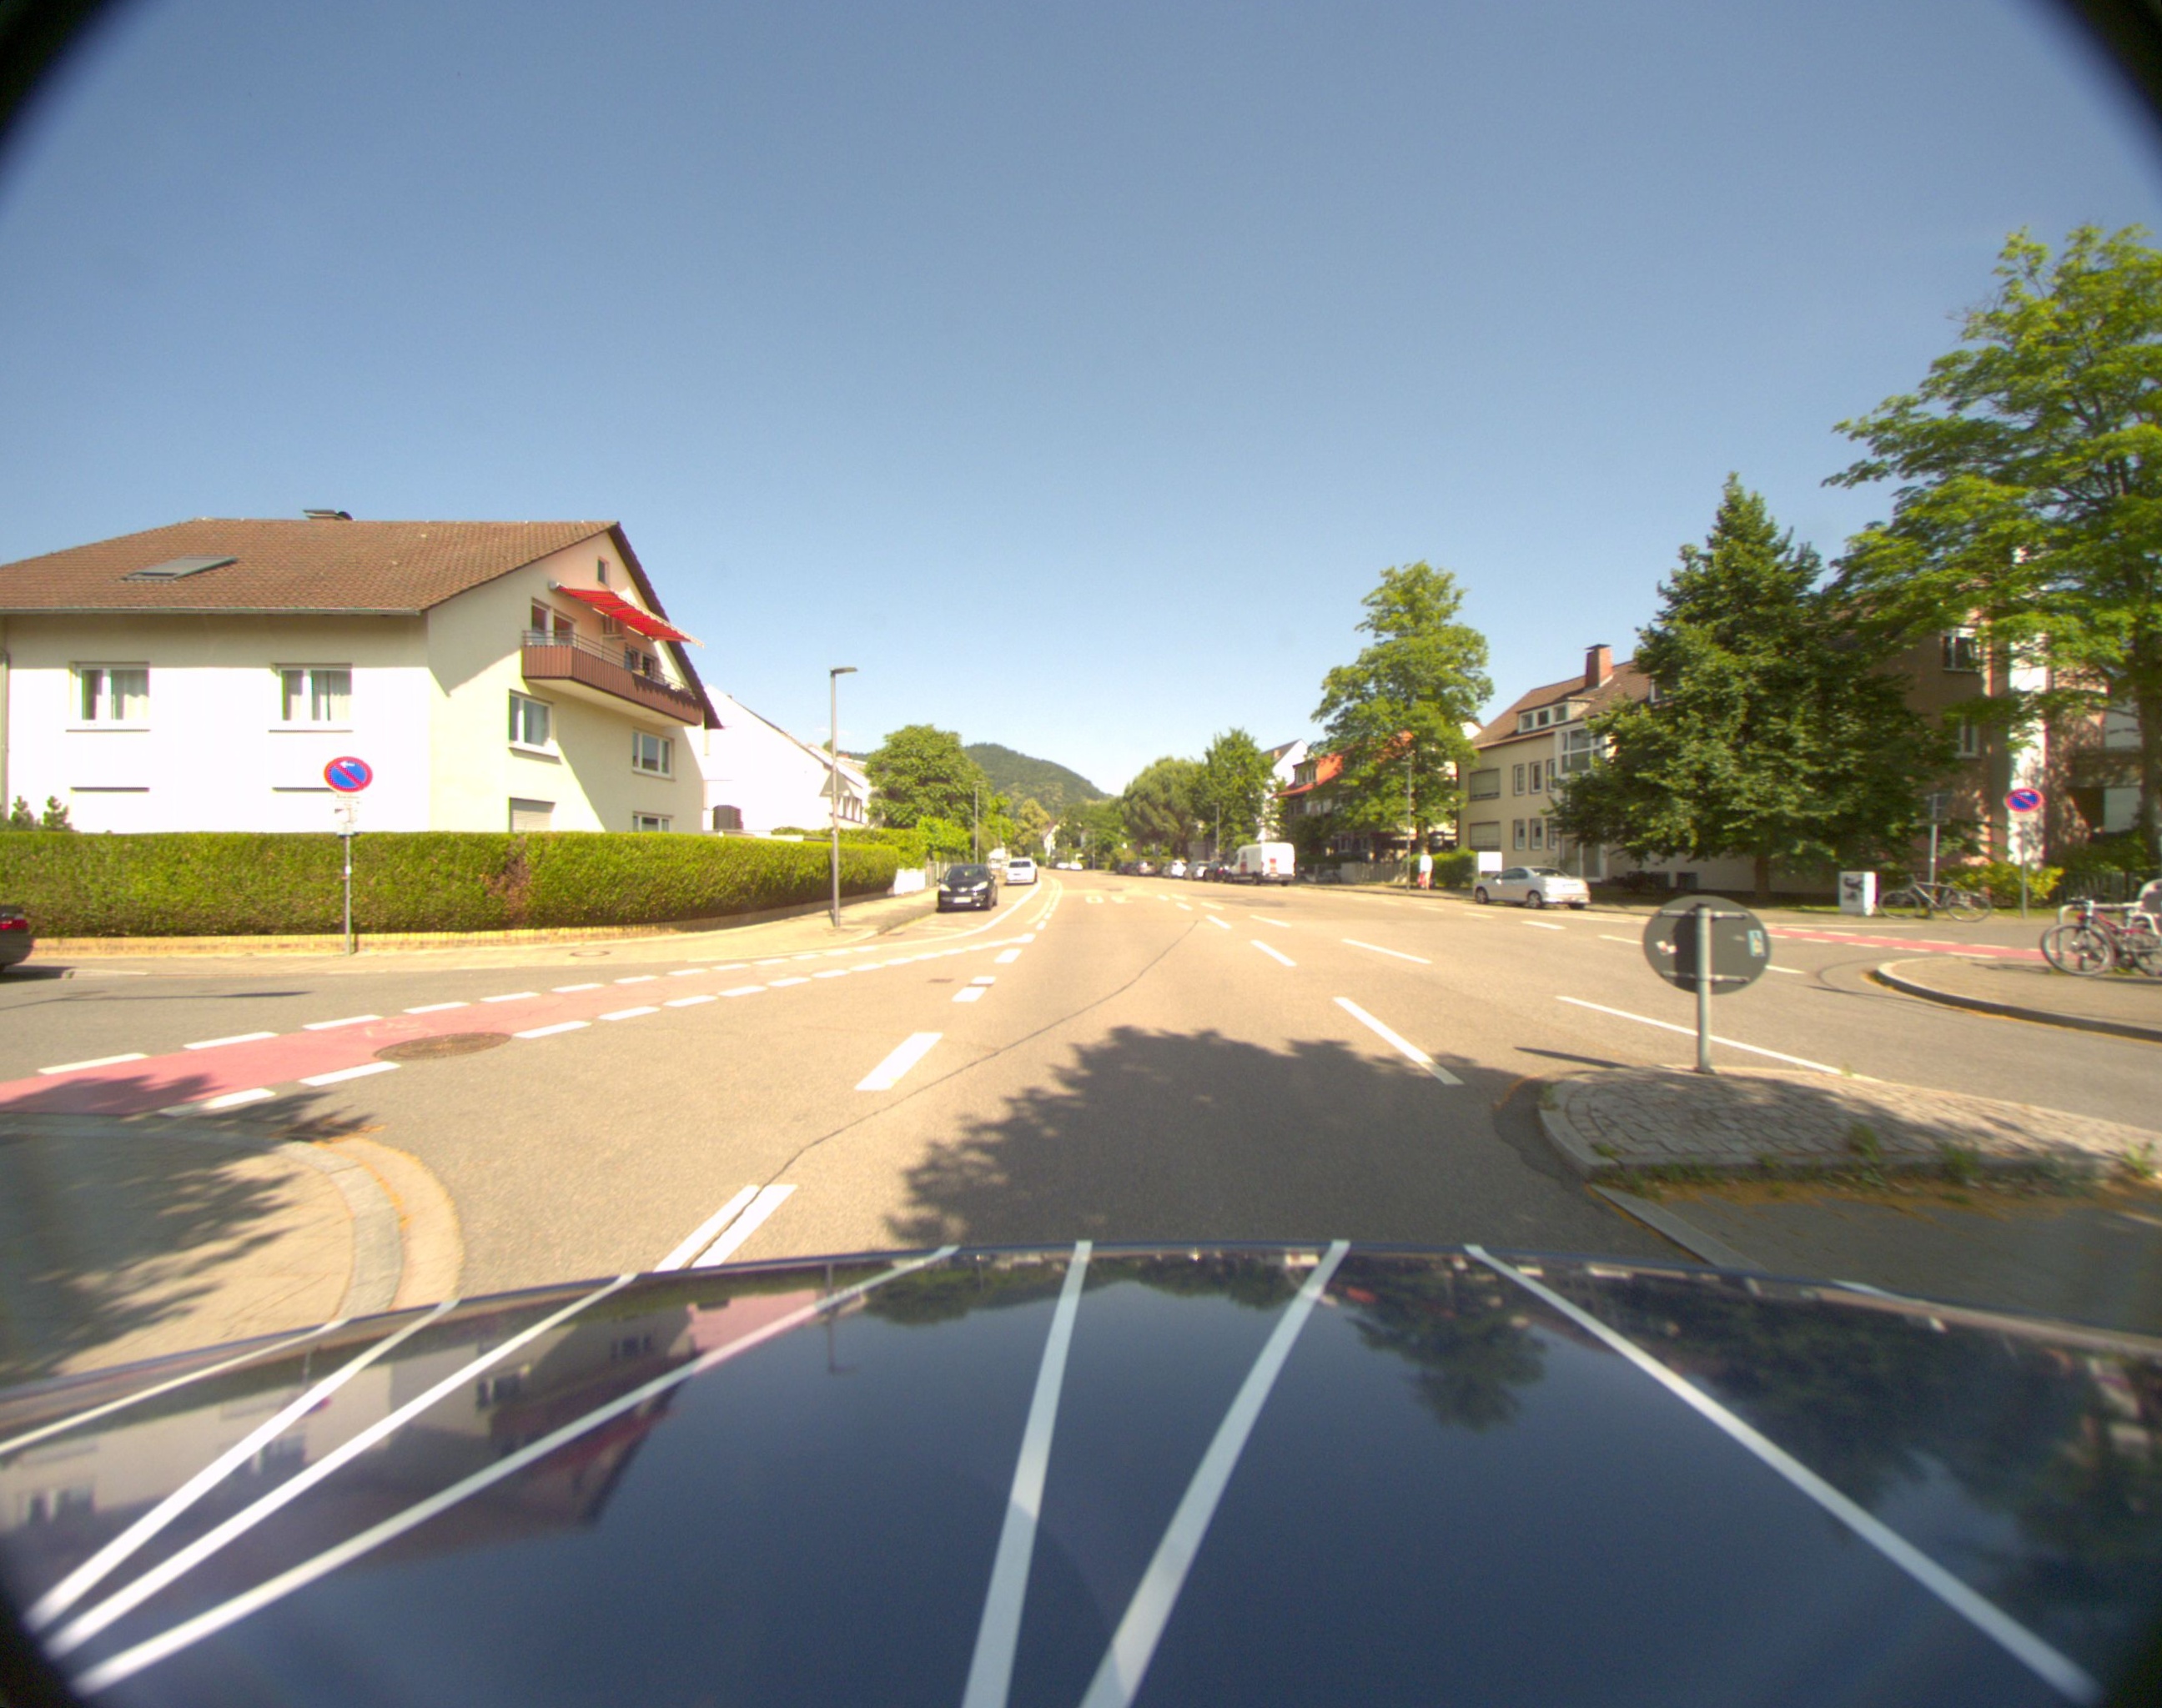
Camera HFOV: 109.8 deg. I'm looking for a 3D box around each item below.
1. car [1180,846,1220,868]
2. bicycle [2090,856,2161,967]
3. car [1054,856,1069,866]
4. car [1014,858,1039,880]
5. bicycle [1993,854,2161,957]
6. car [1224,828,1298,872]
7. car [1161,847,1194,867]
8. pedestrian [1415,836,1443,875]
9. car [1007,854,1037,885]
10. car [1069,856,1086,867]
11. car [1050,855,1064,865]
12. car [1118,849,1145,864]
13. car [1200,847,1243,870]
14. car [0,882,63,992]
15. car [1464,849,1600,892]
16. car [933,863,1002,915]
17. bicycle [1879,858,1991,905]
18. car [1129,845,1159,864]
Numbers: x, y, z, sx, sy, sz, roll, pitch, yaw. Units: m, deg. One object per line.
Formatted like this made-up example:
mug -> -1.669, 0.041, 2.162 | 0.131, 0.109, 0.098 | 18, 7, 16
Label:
car -> 8.895, 0.242, 57.199 | 1.726, 1.549, 4.669 | 1, -1, -8
bicycle -> 13.288, 0.658, 8.719 | 2.551, 1.232, 0.739 | 1, 0, -3
car -> -3.282, 1.102, 126.033 | 2.000, 1.608, 3.997 | 0, 0, -9
car -> -3.930, 1.074, 55.418 | 1.767, 1.584, 4.312 | 0, -1, -3
bicycle -> 13.343, 0.644, 9.729 | 2.551, 1.249, 0.739 | 1, 0, -3
car -> 10.879, -0.183, 46.431 | 2.096, 2.481, 5.947 | 1, -1, -11
car -> 7.952, 0.286, 63.142 | 1.726, 1.549, 3.997 | 1, -1, -8
pedestrian -> 16.130, 0.066, 35.231 | 0.976, 1.769, 0.725 | 0, 0, -4
car -> -3.819, 0.947, 49.789 | 1.767, 1.816, 4.596 | -2, 1, -3
car -> -0.607, 1.095, 113.524 | 1.960, 1.543, 3.997 | 0, 0, -9
car -> -4.206, 1.043, 133.675 | 2.000, 1.674, 3.997 | 0, 0, -9
car -> 5.254, 0.261, 79.490 | 1.847, 1.448, 4.190 | 1, -1, -10
car -> 9.625, 0.324, 52.357 | 1.726, 1.549, 3.997 | 1, -1, -8
car -> -15.738, 1.034, 9.273 | 4.126, 1.389, 1.812 | 0, -3, 0
car -> 14.663, 0.530, 25.006 | 1.726, 1.259, 3.997 | 1, -1, -8
car -> -3.567, 1.056, 24.465 | 1.621, 1.382, 3.999 | -3, 0, -1
bicycle -> 20.067, 0.633, 17.899 | 1.711, 1.074, 0.379 | -1, -1, 40
car -> 6.094, 0.102, 74.093 | 1.847, 1.754, 4.582 | 1, -1, -10
